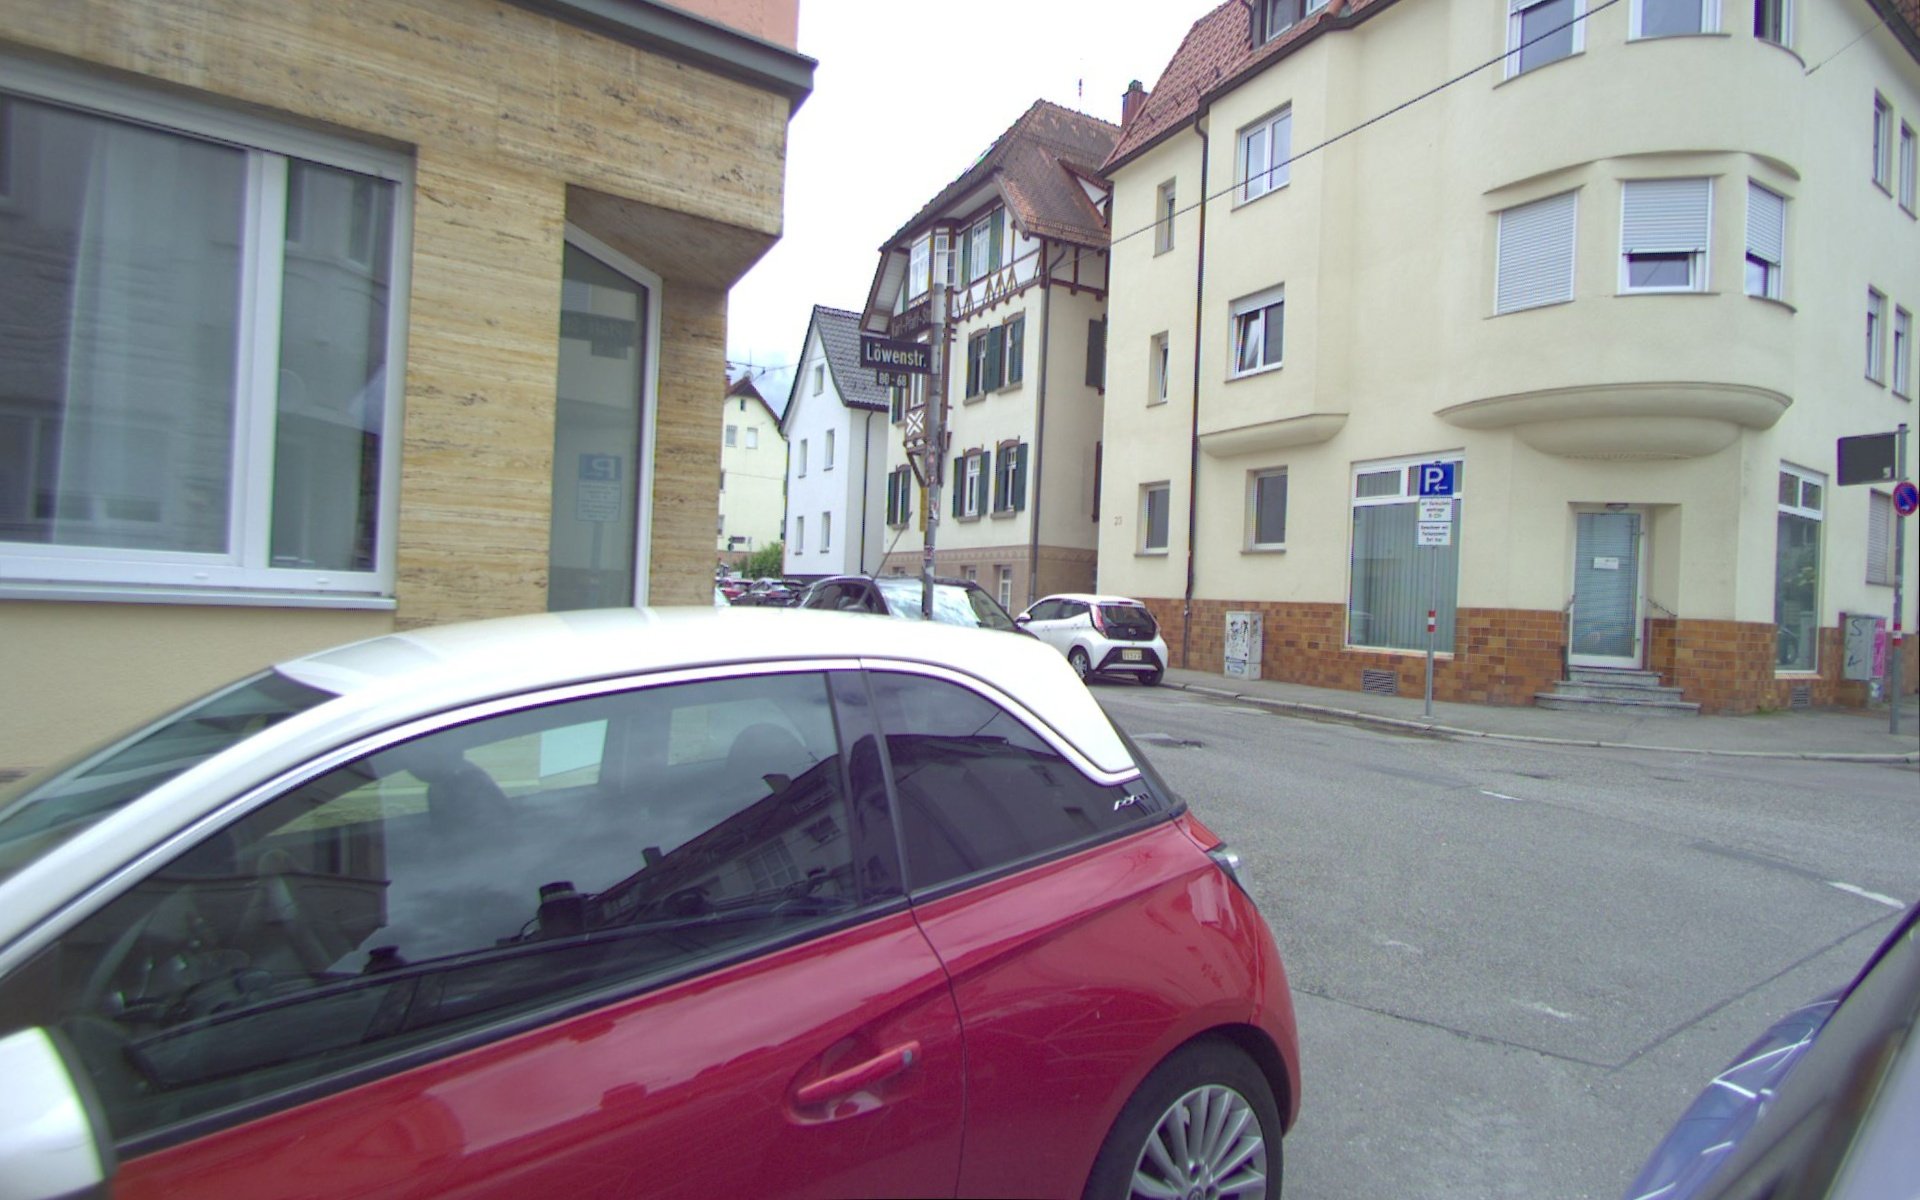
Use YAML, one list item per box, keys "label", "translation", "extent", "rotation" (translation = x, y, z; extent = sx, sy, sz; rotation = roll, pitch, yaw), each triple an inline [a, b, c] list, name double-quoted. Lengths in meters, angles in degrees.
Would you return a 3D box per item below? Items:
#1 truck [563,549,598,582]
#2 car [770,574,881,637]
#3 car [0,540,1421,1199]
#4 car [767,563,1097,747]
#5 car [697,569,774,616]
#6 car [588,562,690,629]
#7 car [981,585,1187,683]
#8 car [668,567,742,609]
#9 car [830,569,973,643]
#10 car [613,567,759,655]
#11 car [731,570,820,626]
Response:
- label: "truck"
  translation: [-29.790, -2.766, 79.375]
  extent: [1.748, 2.421, 5.494]
  rotation: [2, 2, -29]
- label: "car"
  translation: [-3.917, 0.108, 28.871]
  extent: [1.721, 1.474, 4.378]
  rotation: [5, 0, -27]
- label: "car"
  translation: [-0.856, 0.670, 1.991]
  extent: [3.558, 1.498, 1.673]
  rotation: [0, 1, -36]
- label: "car"
  translation: [-0.512, 0.404, 10.799]
  extent: [1.787, 1.562, 4.032]
  rotation: [0, 2, -30]
- label: "car"
  translation: [-8.423, -0.316, 37.763]
  extent: [1.721, 1.467, 4.074]
  rotation: [5, 0, -28]
- label: "car"
  translation: [-8.002, -0.157, 25.009]
  extent: [1.721, 1.450, 3.935]
  rotation: [1, 2, -27]
- label: "car"
  translation: [2.038, 0.530, 17.690]
  extent: [1.638, 1.452, 3.822]
  rotation: [3, 0, -28]
- label: "car"
  translation: [-10.586, -0.523, 41.821]
  extent: [1.722, 1.449, 4.356]
  rotation: [5, 0, -31]
- label: "car"
  translation: [-1.519, 0.090, 24.450]
  extent: [1.721, 1.450, 4.378]
  rotation: [5, 0, -28]
- label: "car"
  translation: [-5.493, 0.113, 19.874]
  extent: [1.756, 1.434, 4.586]
  rotation: [-1, 3, -28]
- label: "car"
  translation: [-6.119, -0.102, 33.205]
  extent: [1.721, 1.528, 4.092]
  rotation: [5, 0, -27]
